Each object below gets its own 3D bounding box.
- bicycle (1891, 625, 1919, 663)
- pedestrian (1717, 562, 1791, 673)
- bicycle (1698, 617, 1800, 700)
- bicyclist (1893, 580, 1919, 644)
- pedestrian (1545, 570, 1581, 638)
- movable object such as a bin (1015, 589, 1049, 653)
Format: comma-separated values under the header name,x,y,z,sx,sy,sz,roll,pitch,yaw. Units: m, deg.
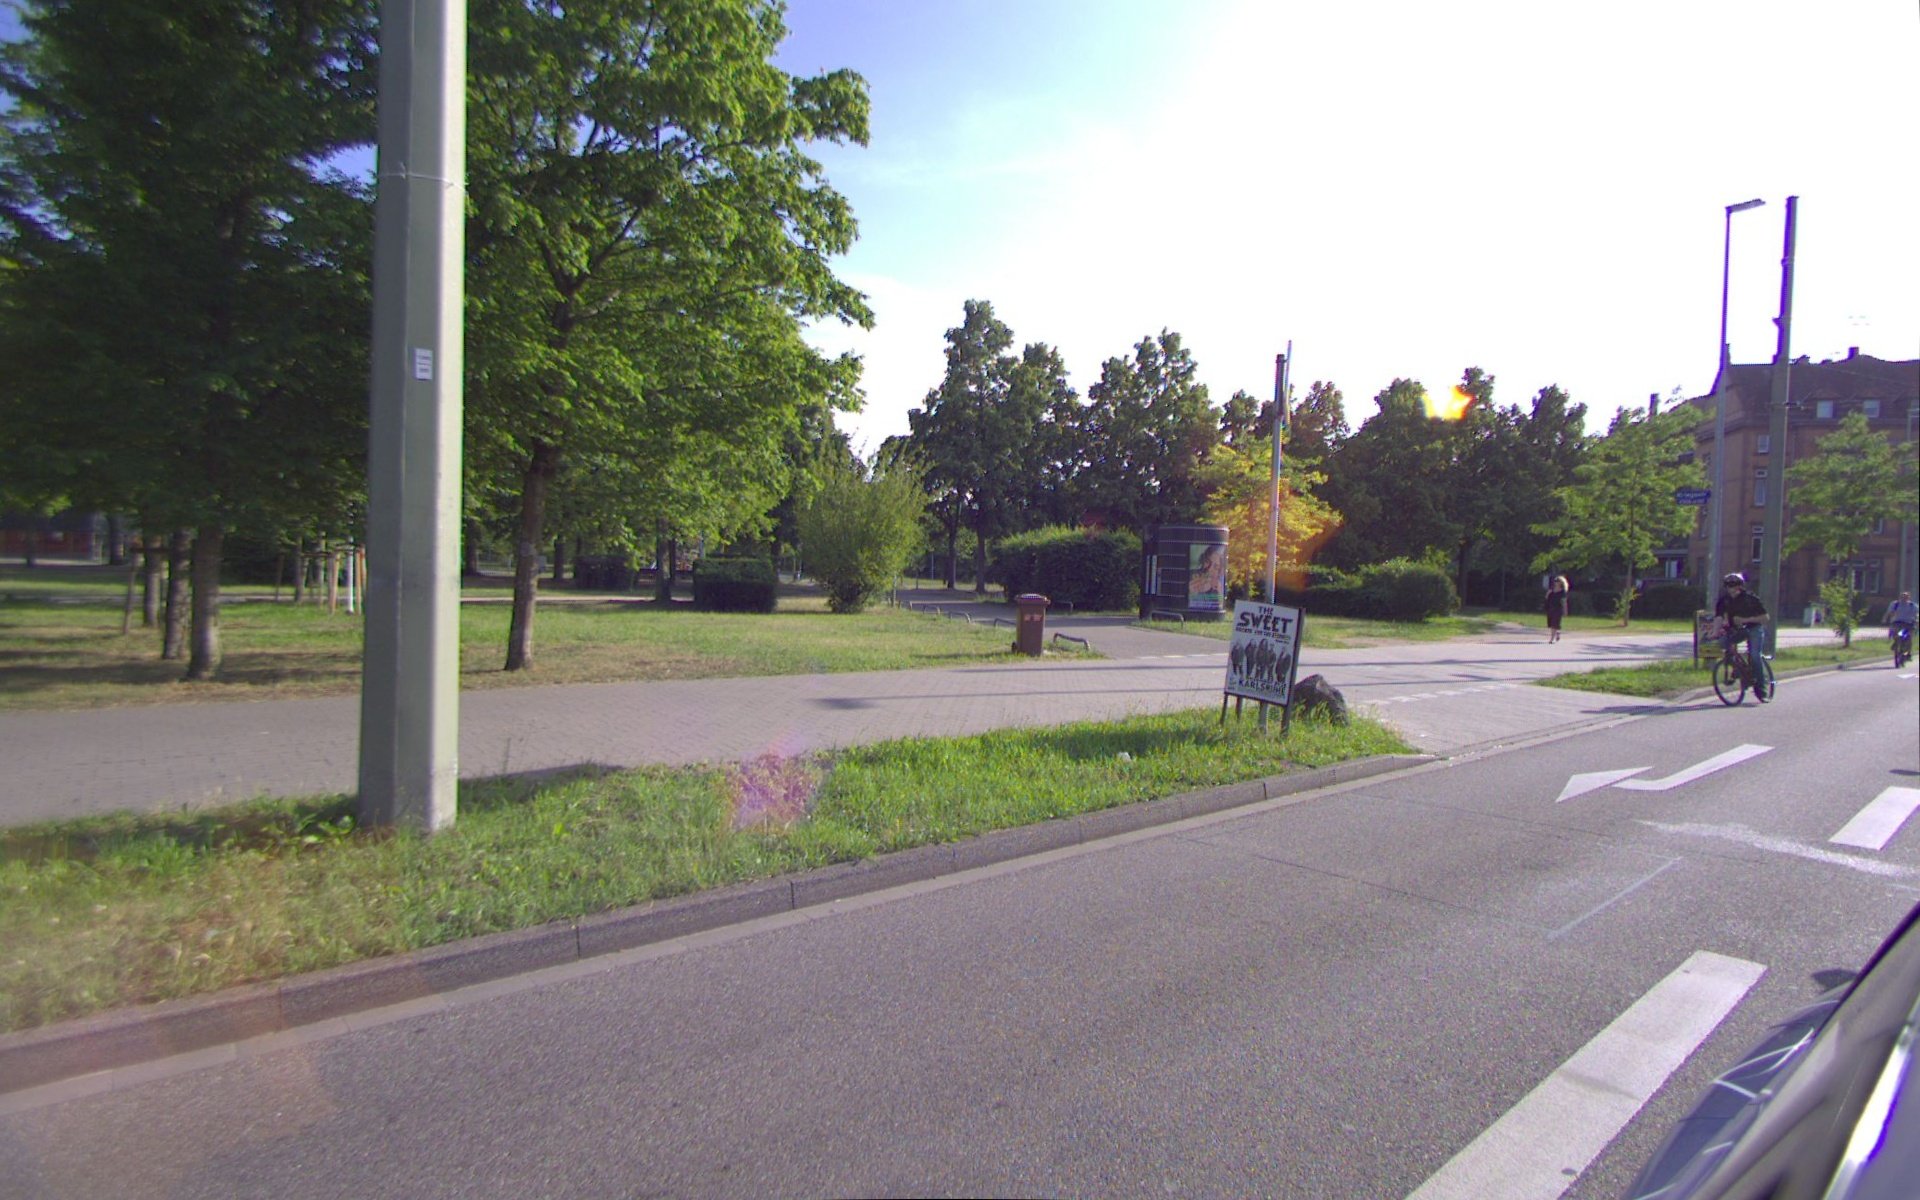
name,x,y,z,sx,sy,sz,roll,pitch,yaw
bicycle,22.793,1.039,24.205,2.006,0.803,0.567,0,2,-42
pedestrian,11.376,0.234,14.502,0.829,1.540,0.637,0,0,-36
bicycle,11.232,0.797,14.392,1.943,1.059,0.652,-1,0,-37
bicyclist,22.826,0.281,24.144,1.092,1.472,0.688,0,2,-42
pedestrian,15.361,0.099,25.790,0.607,1.706,0.621,1,0,-40
movable object such as a bin,1.097,0.304,15.459,0.447,0.929,0.605,2,2,1
